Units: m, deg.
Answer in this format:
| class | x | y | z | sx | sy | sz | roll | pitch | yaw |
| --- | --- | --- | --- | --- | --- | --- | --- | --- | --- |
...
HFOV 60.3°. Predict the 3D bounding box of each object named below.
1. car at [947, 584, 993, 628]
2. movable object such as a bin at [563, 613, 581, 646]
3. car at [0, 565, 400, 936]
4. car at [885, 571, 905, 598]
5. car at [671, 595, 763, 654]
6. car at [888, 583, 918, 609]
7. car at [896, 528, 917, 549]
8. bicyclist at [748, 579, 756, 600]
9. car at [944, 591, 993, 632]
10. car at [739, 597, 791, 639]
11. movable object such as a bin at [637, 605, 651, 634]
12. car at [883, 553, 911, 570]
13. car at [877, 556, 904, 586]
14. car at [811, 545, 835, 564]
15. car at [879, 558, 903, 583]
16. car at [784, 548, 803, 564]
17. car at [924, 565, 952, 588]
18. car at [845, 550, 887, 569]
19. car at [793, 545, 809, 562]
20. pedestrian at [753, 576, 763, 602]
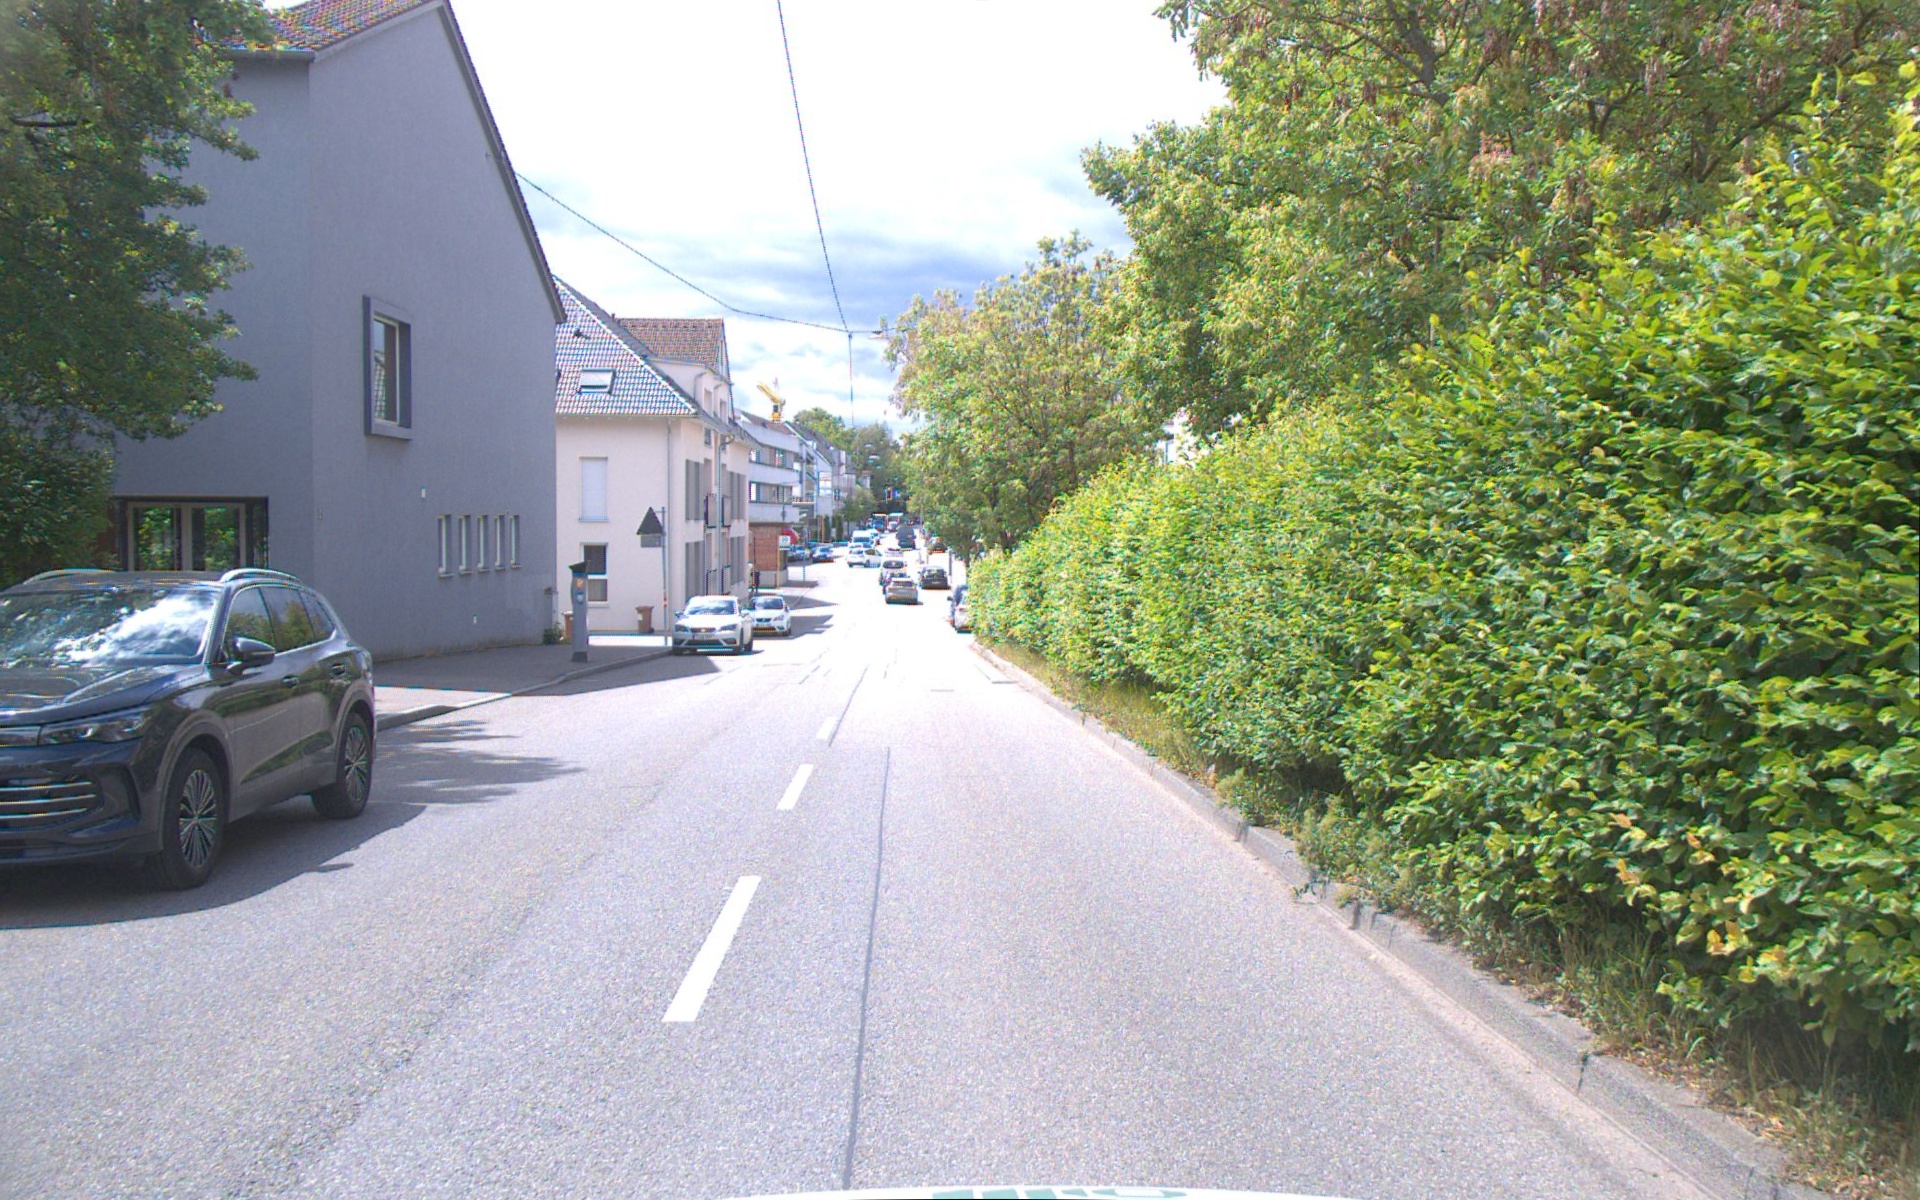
| class | x | y | z | sx | sy | sz | roll | pitch | yaw |
| --- | --- | --- | --- | --- | --- | --- | --- | --- | --- |
| car | 0.398 | 0.227 | 71.844 | 1.807 | 1.798 | 4.513 | 1 | 1 | -2 |
| movable object such as a bin | -11.211 | 0.853 | 47.786 | 0.445 | 0.945 | 0.399 | -1 | 0 | -3 |
| car | -4.776 | 0.624 | 9.617 | 1.760 | 1.638 | 4.642 | 0 | 1 | -4 |
| car | -4.116 | -1.002 | 105.226 | 1.248 | 1.553 | 3.050 | 0 | 4 | -3 |
| car | -6.243 | 0.652 | 42.877 | 1.662 | 1.415 | 3.866 | 1 | -1 | 2 |
| car | -3.324 | -0.259 | 96.425 | 1.709 | 1.441 | 3.999 | 0 | 1 | -2 |
| car | -6.398 | -7.276 | 196.058 | 2.387 | 2.358 | 5.325 | 2 | 1 | -2 |
| bicyclist | -11.982 | -0.586 | 95.251 | 0.448 | 1.199 | 0.624 | 0 | 1 | -2 |
| car | 0.318 | 0.426 | 66.058 | 1.750 | 1.535 | 4.363 | 1 | 1 | -2 |
| car | -7.140 | 0.638 | 60.805 | 1.614 | 1.443 | 3.697 | 1 | 1 | -2 |
| movable object such as a bin | -10.864 | 0.660 | 56.864 | 0.405 | 0.970 | 0.391 | 0 | 0 | -6 |
| car | -5.951 | -3.611 | 156.376 | 1.744 | 1.518 | 4.004 | 2 | 1 | 10 |
| car | -4.857 | -2.067 | 115.678 | 1.799 | 1.893 | 3.850 | 1 | 4 | -2 |
| car | -12.837 | -4.221 | 155.184 | 1.834 | 1.668 | 4.000 | 2 | 1 | 0 |
| car | -5.294 | -2.282 | 126.814 | 1.799 | 1.894 | 3.849 | 1 | 1 | -2 |
| car | -15.564 | -4.083 | 154.661 | 1.520 | 1.400 | 3.397 | 0 | 0 | -2 |
| car | -1.510 | -1.603 | 112.311 | 1.718 | 1.394 | 4.000 | 1 | 4 | -3 |
| car | -8.061 | -3.489 | 142.201 | 1.747 | 1.584 | 3.995 | 0 | 1 | 28 |
| car | -15.354 | -4.440 | 159.762 | 1.356 | 1.568 | 3.397 | 0 | 0 | -2 |
| pedestrian | -12.700 | -0.679 | 103.991 | 0.616 | 1.630 | 0.562 | 1 | 1 | -7 |
